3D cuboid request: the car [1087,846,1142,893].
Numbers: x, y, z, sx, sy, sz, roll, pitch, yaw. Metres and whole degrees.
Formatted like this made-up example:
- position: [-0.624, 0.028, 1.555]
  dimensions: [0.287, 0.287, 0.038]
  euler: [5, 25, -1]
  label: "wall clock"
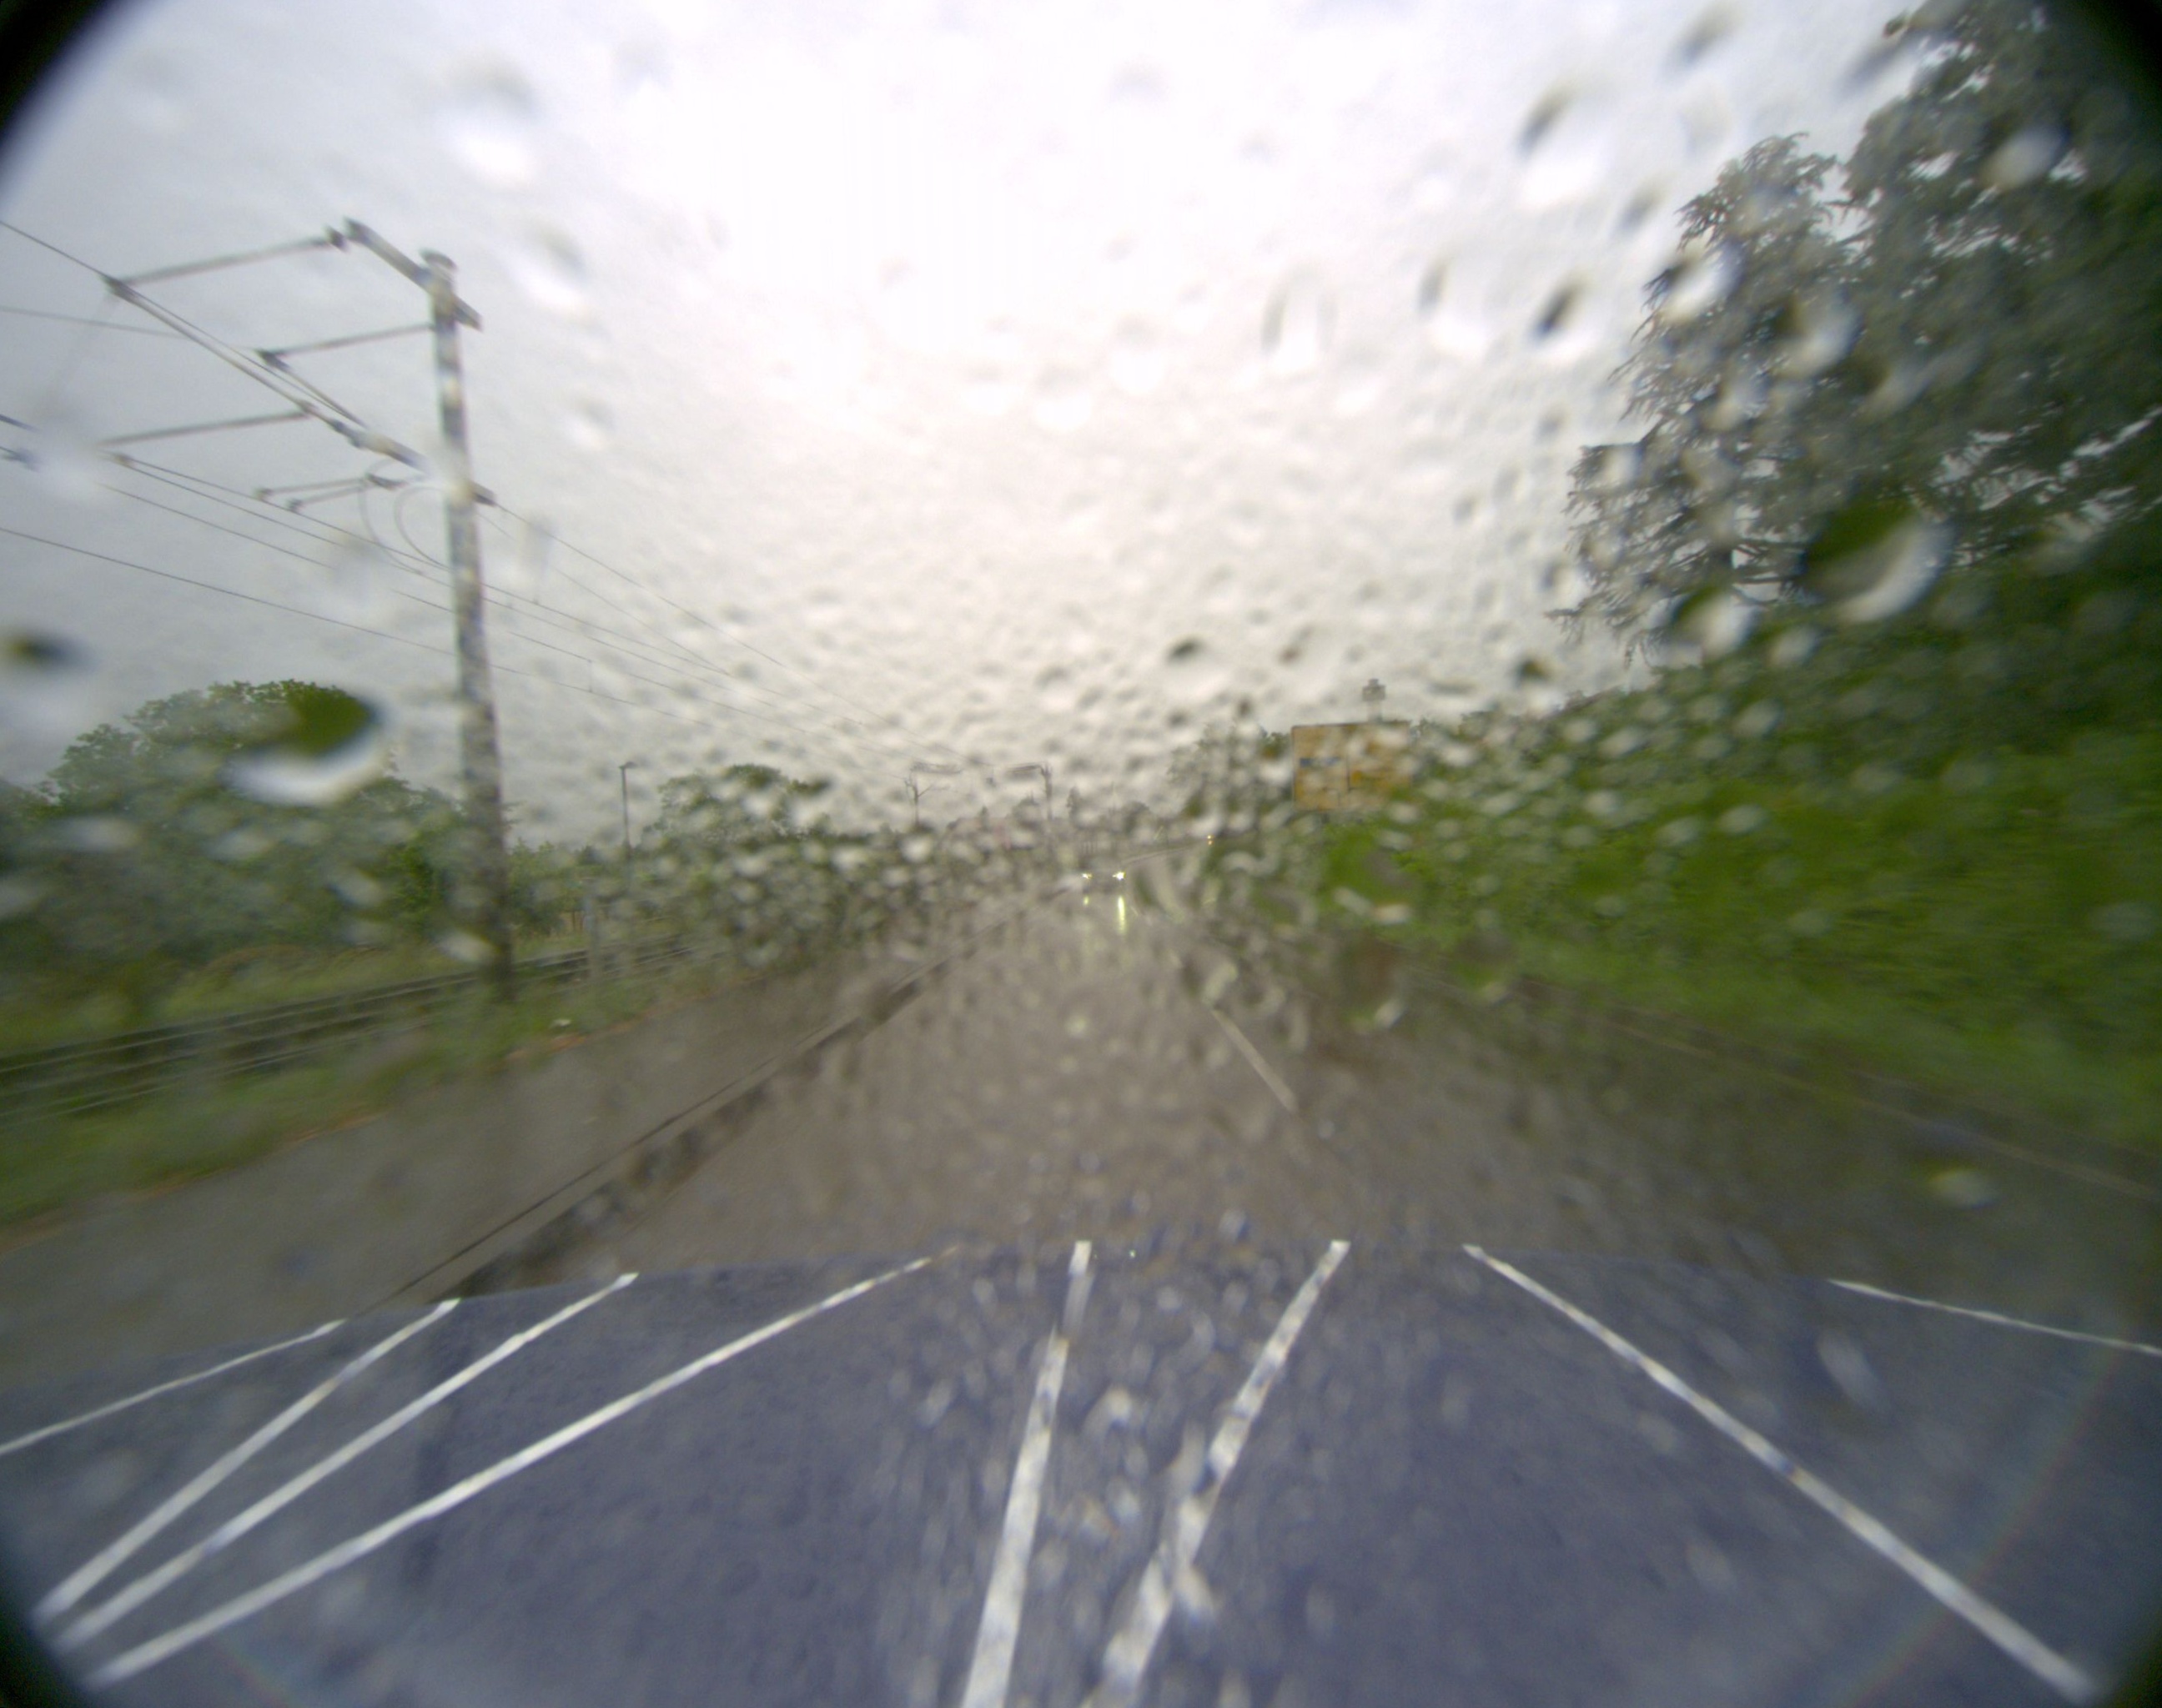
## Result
- position: [1.509, 0.615, 32.893]
  dimensions: [1.998, 1.623, 4.000]
  euler: [-4, 3, 7]
  label: "car"
